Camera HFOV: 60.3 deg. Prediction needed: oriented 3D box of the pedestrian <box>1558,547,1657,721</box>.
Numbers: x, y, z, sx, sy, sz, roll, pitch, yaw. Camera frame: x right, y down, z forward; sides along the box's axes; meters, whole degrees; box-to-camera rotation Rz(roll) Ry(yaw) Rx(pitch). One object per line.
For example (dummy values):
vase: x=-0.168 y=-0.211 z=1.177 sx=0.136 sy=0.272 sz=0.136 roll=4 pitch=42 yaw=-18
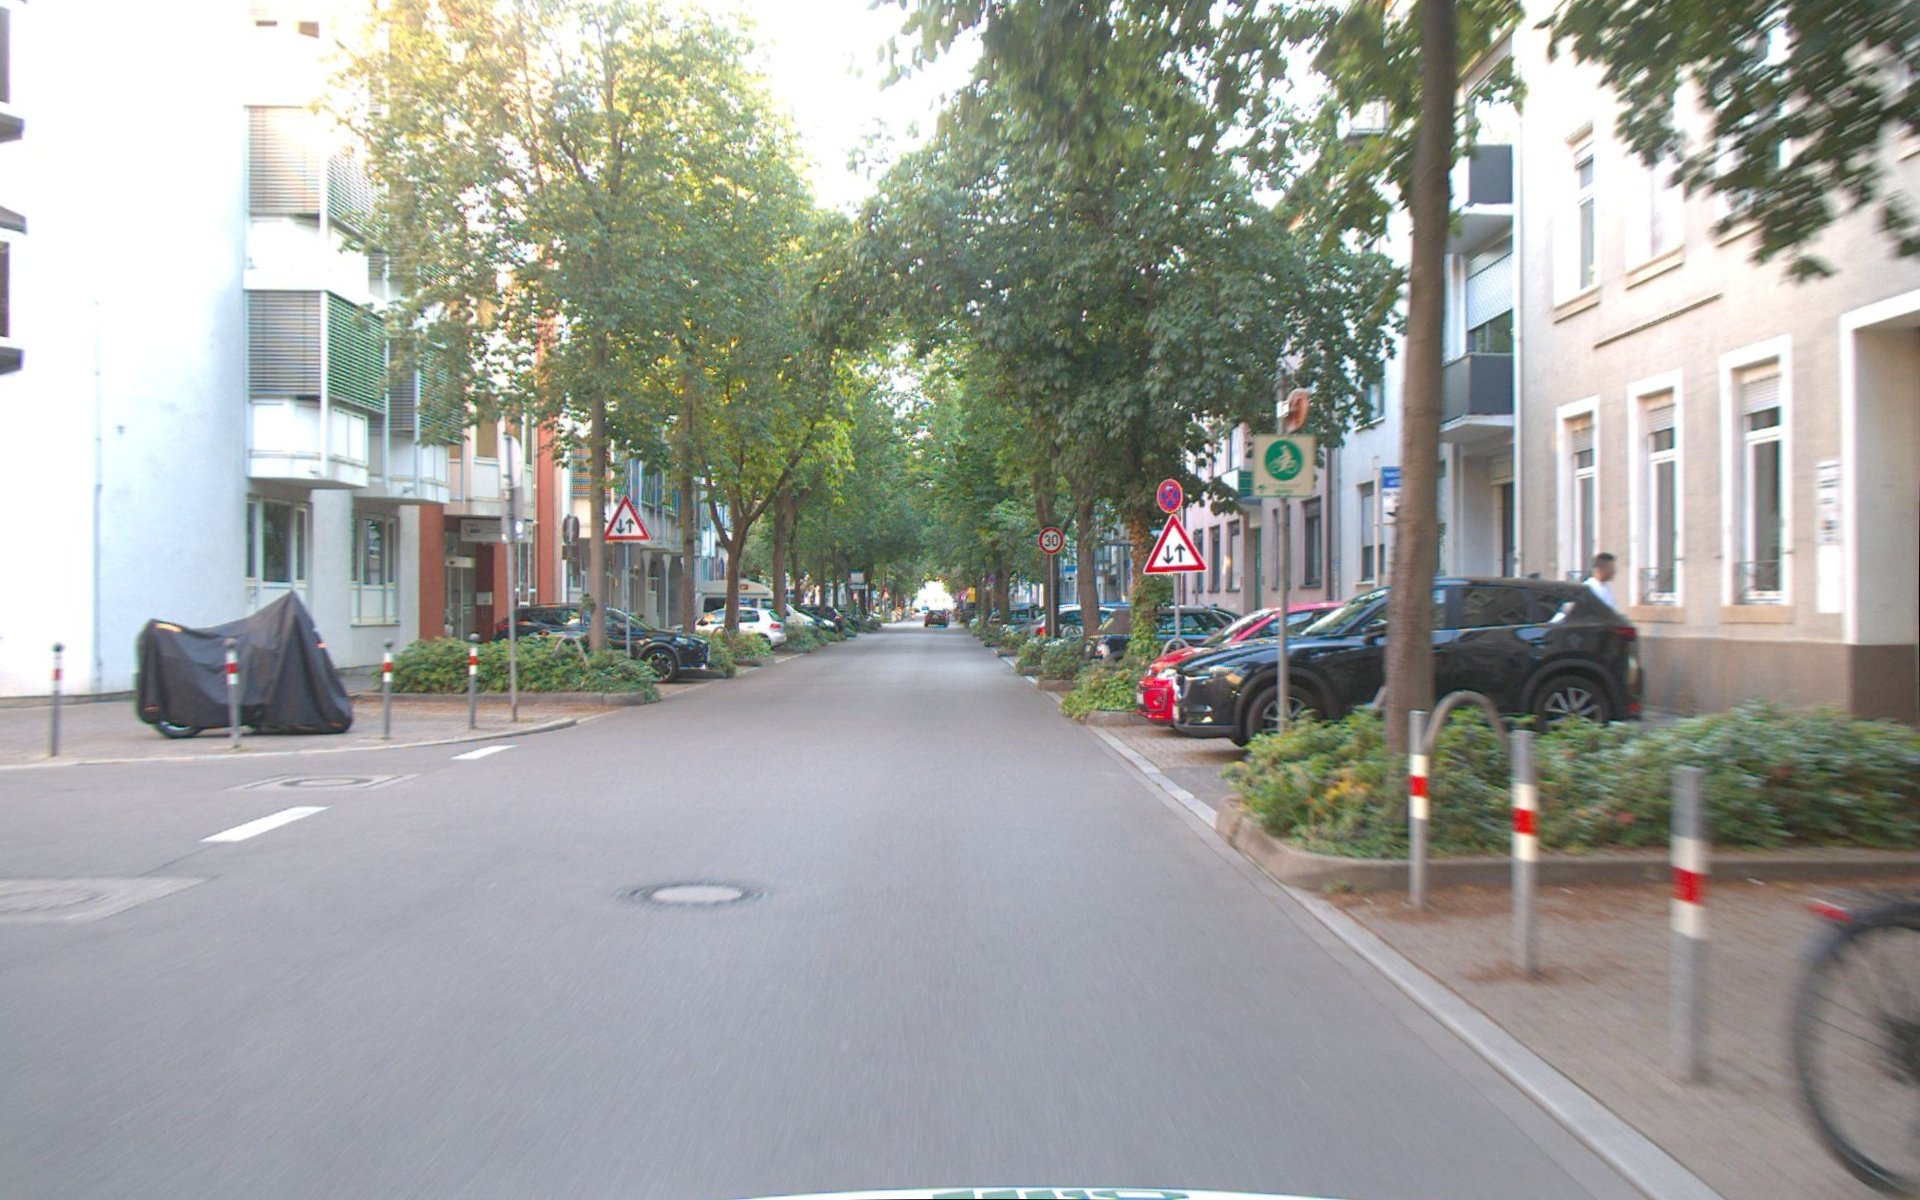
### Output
pedestrian: x=6.791 y=0.346 z=17.347 sx=0.683 sy=1.767 sz=0.667 roll=-1 pitch=0 yaw=-32

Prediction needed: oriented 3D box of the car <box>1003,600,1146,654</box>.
car: x=3.725 y=0.880 z=54.625 sx=4.620 sy=1.740 sz=1.950 roll=0 pitch=0 yaw=1

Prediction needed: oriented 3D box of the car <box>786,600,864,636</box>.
car: x=-8.319 y=1.117 z=102.207 sx=4.666 sy=2.019 sz=1.962 roll=-2 pitch=-1 yaw=-1

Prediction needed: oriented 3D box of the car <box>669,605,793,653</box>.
car: x=-7.507 y=0.953 z=54.482 sx=3.791 sy=1.512 sz=1.757 roll=1 pitch=0 yaw=1

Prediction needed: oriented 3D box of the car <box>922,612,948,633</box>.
car: x=-1.948 y=1.748 z=129.752 sx=1.917 sy=1.593 sz=4.281 roll=-2 pitch=-1 yaw=-1

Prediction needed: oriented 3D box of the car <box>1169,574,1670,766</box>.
car: x=4.311 y=0.636 z=16.049 sx=4.335 sy=1.685 sz=1.899 roll=-1 pitch=0 yaw=0

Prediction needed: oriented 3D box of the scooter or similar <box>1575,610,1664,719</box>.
scooter or similar: x=7.347 y=0.702 z=18.444 sx=0.641 sy=1.173 sz=0.831 roll=-1 pitch=0 yaw=0

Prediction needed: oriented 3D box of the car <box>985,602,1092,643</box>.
car: x=3.322 y=0.950 z=69.981 sx=4.414 sy=1.548 sz=1.996 roll=-2 pitch=-1 yaw=2

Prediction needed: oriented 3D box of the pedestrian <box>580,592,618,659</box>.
pedestrian: x=-9.678 y=0.689 z=44.393 sx=0.689 sy=1.788 sz=0.739 roll=0 pitch=-1 yaw=23

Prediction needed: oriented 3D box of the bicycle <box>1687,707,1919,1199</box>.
bicycle: x=2.985 y=0.880 z=4.409 sx=1.804 sy=1.155 sz=0.743 roll=-2 pitch=0 yaw=-11

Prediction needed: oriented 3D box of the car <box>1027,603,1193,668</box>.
car: x=3.649 y=0.849 z=40.649 sx=3.800 sy=1.465 sz=1.846 roll=-2 pitch=0 yaw=-4

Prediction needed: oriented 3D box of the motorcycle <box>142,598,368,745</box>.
motorcycle: x=-7.578 y=0.742 z=17.903 sx=2.175 sy=1.507 sz=0.854 roll=0 pitch=1 yaw=-20

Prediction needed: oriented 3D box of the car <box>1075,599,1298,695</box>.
car: x=3.763 y=0.762 z=27.905 sx=3.414 sy=1.478 sz=1.898 roll=-2 pitch=0 yaw=-3

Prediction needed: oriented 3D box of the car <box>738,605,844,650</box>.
car: x=-7.650 y=1.238 z=75.344 sx=4.587 sy=1.886 sz=1.962 roll=-2 pitch=-1 yaw=-1

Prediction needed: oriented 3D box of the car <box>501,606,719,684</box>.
car: x=-7.053 y=0.894 z=33.652 sx=4.044 sy=1.512 sz=1.928 roll=1 pitch=0 yaw=-2

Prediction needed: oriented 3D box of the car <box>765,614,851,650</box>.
car: x=-7.621 y=1.586 z=83.063 sx=4.118 sy=1.664 sz=1.962 roll=-2 pitch=-1 yaw=-1

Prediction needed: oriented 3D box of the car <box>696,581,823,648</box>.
car: x=-7.574 y=0.556 z=62.905 sx=4.587 sy=2.521 sz=1.999 roll=0 pitch=-1 yaw=-1

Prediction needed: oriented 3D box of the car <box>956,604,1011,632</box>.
car: x=1.821 y=1.408 z=128.893 sx=4.181 sy=1.996 sz=1.962 roll=-2 pitch=-1 yaw=-1

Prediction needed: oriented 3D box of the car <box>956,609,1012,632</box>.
car: x=1.821 y=1.540 z=126.039 sx=4.181 sy=1.593 sz=1.962 roll=-2 pitch=-1 yaw=-1

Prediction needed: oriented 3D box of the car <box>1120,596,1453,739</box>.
car: x=3.710 y=0.742 z=19.203 sx=3.414 sy=1.478 sz=1.898 roll=-2 pitch=0 yaw=-3

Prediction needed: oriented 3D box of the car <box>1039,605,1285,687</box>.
car: x=3.944 y=0.894 z=32.910 sx=4.615 sy=1.446 sz=2.035 roll=-2 pitch=0 yaw=-1

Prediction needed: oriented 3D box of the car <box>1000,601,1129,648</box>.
car: x=3.831 y=0.895 z=61.079 sx=4.587 sy=1.548 sz=1.962 roll=-2 pitch=-1 yaw=-1
